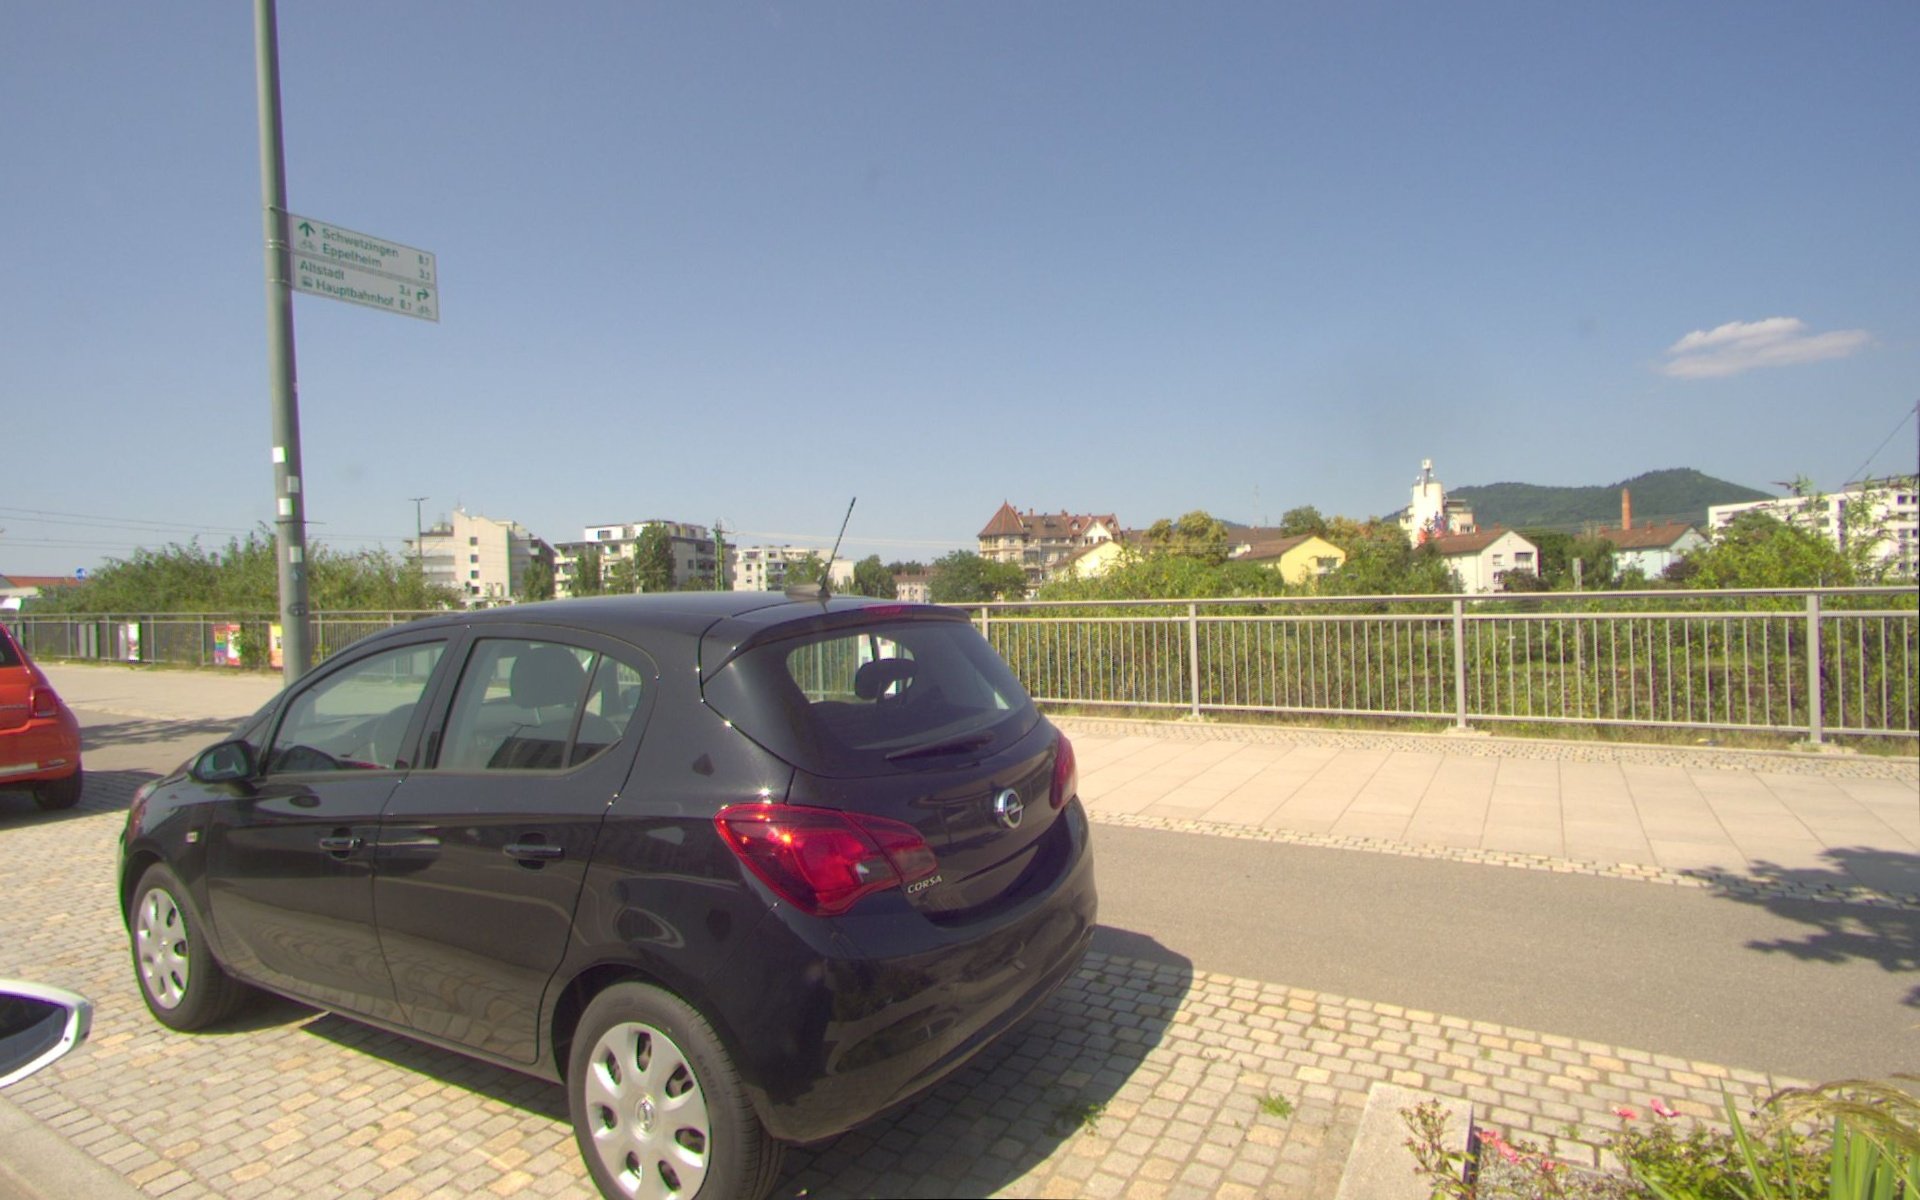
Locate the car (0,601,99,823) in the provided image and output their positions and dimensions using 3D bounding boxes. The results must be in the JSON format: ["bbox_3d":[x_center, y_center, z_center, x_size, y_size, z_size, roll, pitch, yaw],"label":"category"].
[{"bbox_3d":[-8.165,0.804,7.592,3.305,1.517,1.605,-1,2,34],"label":"car"}]

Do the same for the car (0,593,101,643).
[{"bbox_3d":[-46.960,0.944,50.947,1.750,2.406,5.016,-1,-1,9],"label":"car"}]

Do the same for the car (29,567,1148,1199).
[{"bbox_3d":[-1.504,0.682,3.598,3.942,1.446,1.656,-1,1,32],"label":"car"}]
